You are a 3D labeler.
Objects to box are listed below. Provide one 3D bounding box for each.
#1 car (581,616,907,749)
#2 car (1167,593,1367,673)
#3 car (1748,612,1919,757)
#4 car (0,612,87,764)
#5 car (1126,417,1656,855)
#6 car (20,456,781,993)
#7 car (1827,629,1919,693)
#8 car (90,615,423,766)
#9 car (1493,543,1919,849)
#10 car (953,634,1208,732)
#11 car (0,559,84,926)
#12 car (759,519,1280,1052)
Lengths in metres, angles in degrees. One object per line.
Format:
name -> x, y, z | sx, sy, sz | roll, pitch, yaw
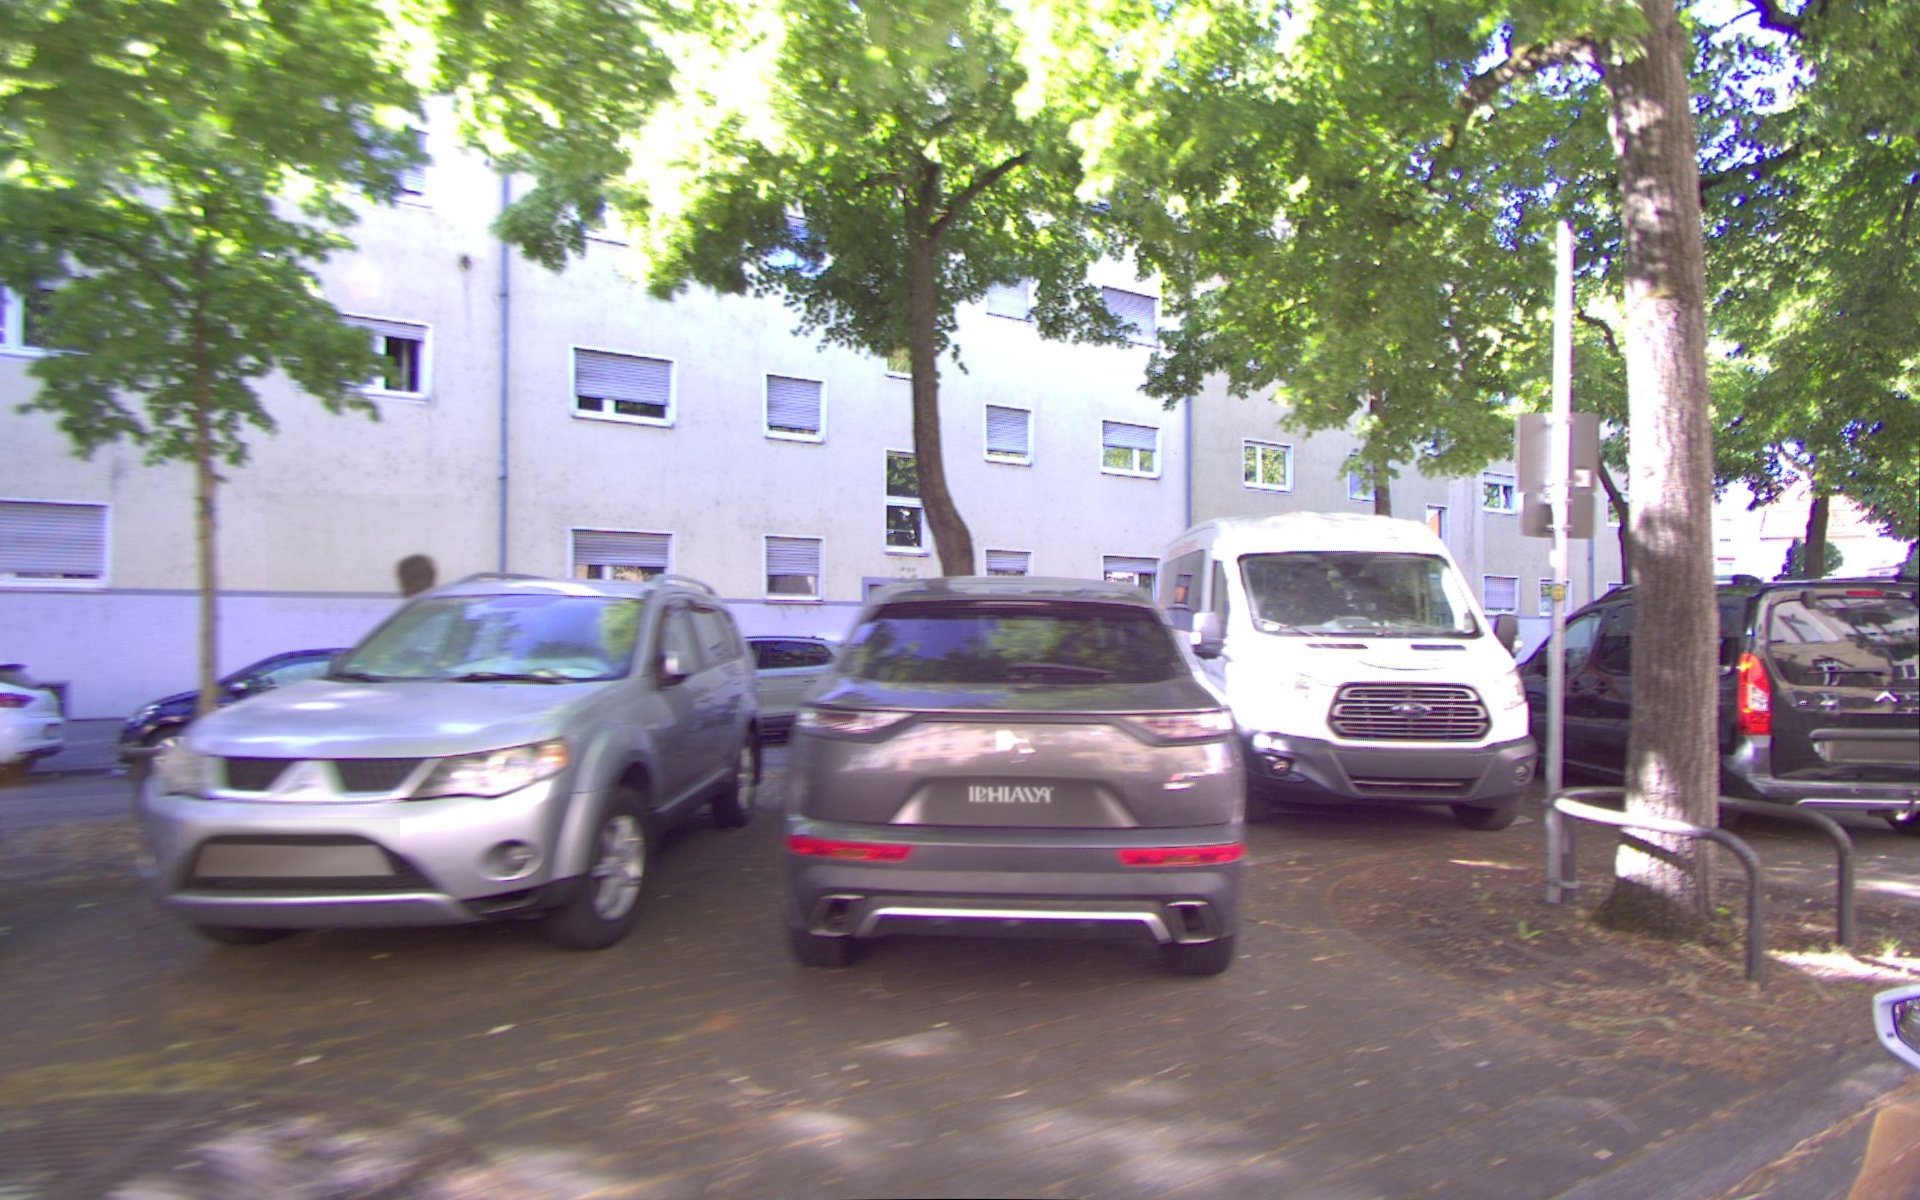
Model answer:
car -> -3.178, 1.152, 15.121 | 4.507, 1.745, 1.732 | 1, -3, -32
car -> 6.470, 0.664, 21.064 | 4.100, 1.514, 1.763 | 1, 1, -32
car -> 11.384, 0.958, 11.543 | 1.605, 1.603, 3.737 | 1, -1, -3
car -> -11.937, 0.924, 10.362 | 4.114, 1.586, 1.883 | 1, -3, -32
car -> 3.182, 0.328, 9.278 | 2.406, 2.657, 6.087 | 1, -2, 2
car -> -2.288, 0.496, 5.638 | 1.862, 1.800, 4.394 | 1, -2, -2
car -> 23.195, 1.437, 23.761 | 1.618, 1.485, 3.787 | 1, -3, -17
car -> -8.374, 1.008, 12.250 | 3.148, 1.580, 1.466 | 1, 1, -32
car -> 6.149, 0.641, 8.216 | 1.806, 1.914, 3.853 | 0, -1, 5
car -> 2.280, 1.449, 18.599 | 4.537, 1.537, 1.763 | 1, 1, -30
car -> -4.798, 0.521, 2.400 | 1.697, 1.501, 4.111 | 1, -1, 1
car -> 0.153, 0.601, 5.333 | 1.623, 1.663, 4.275 | 1, 0, -1
